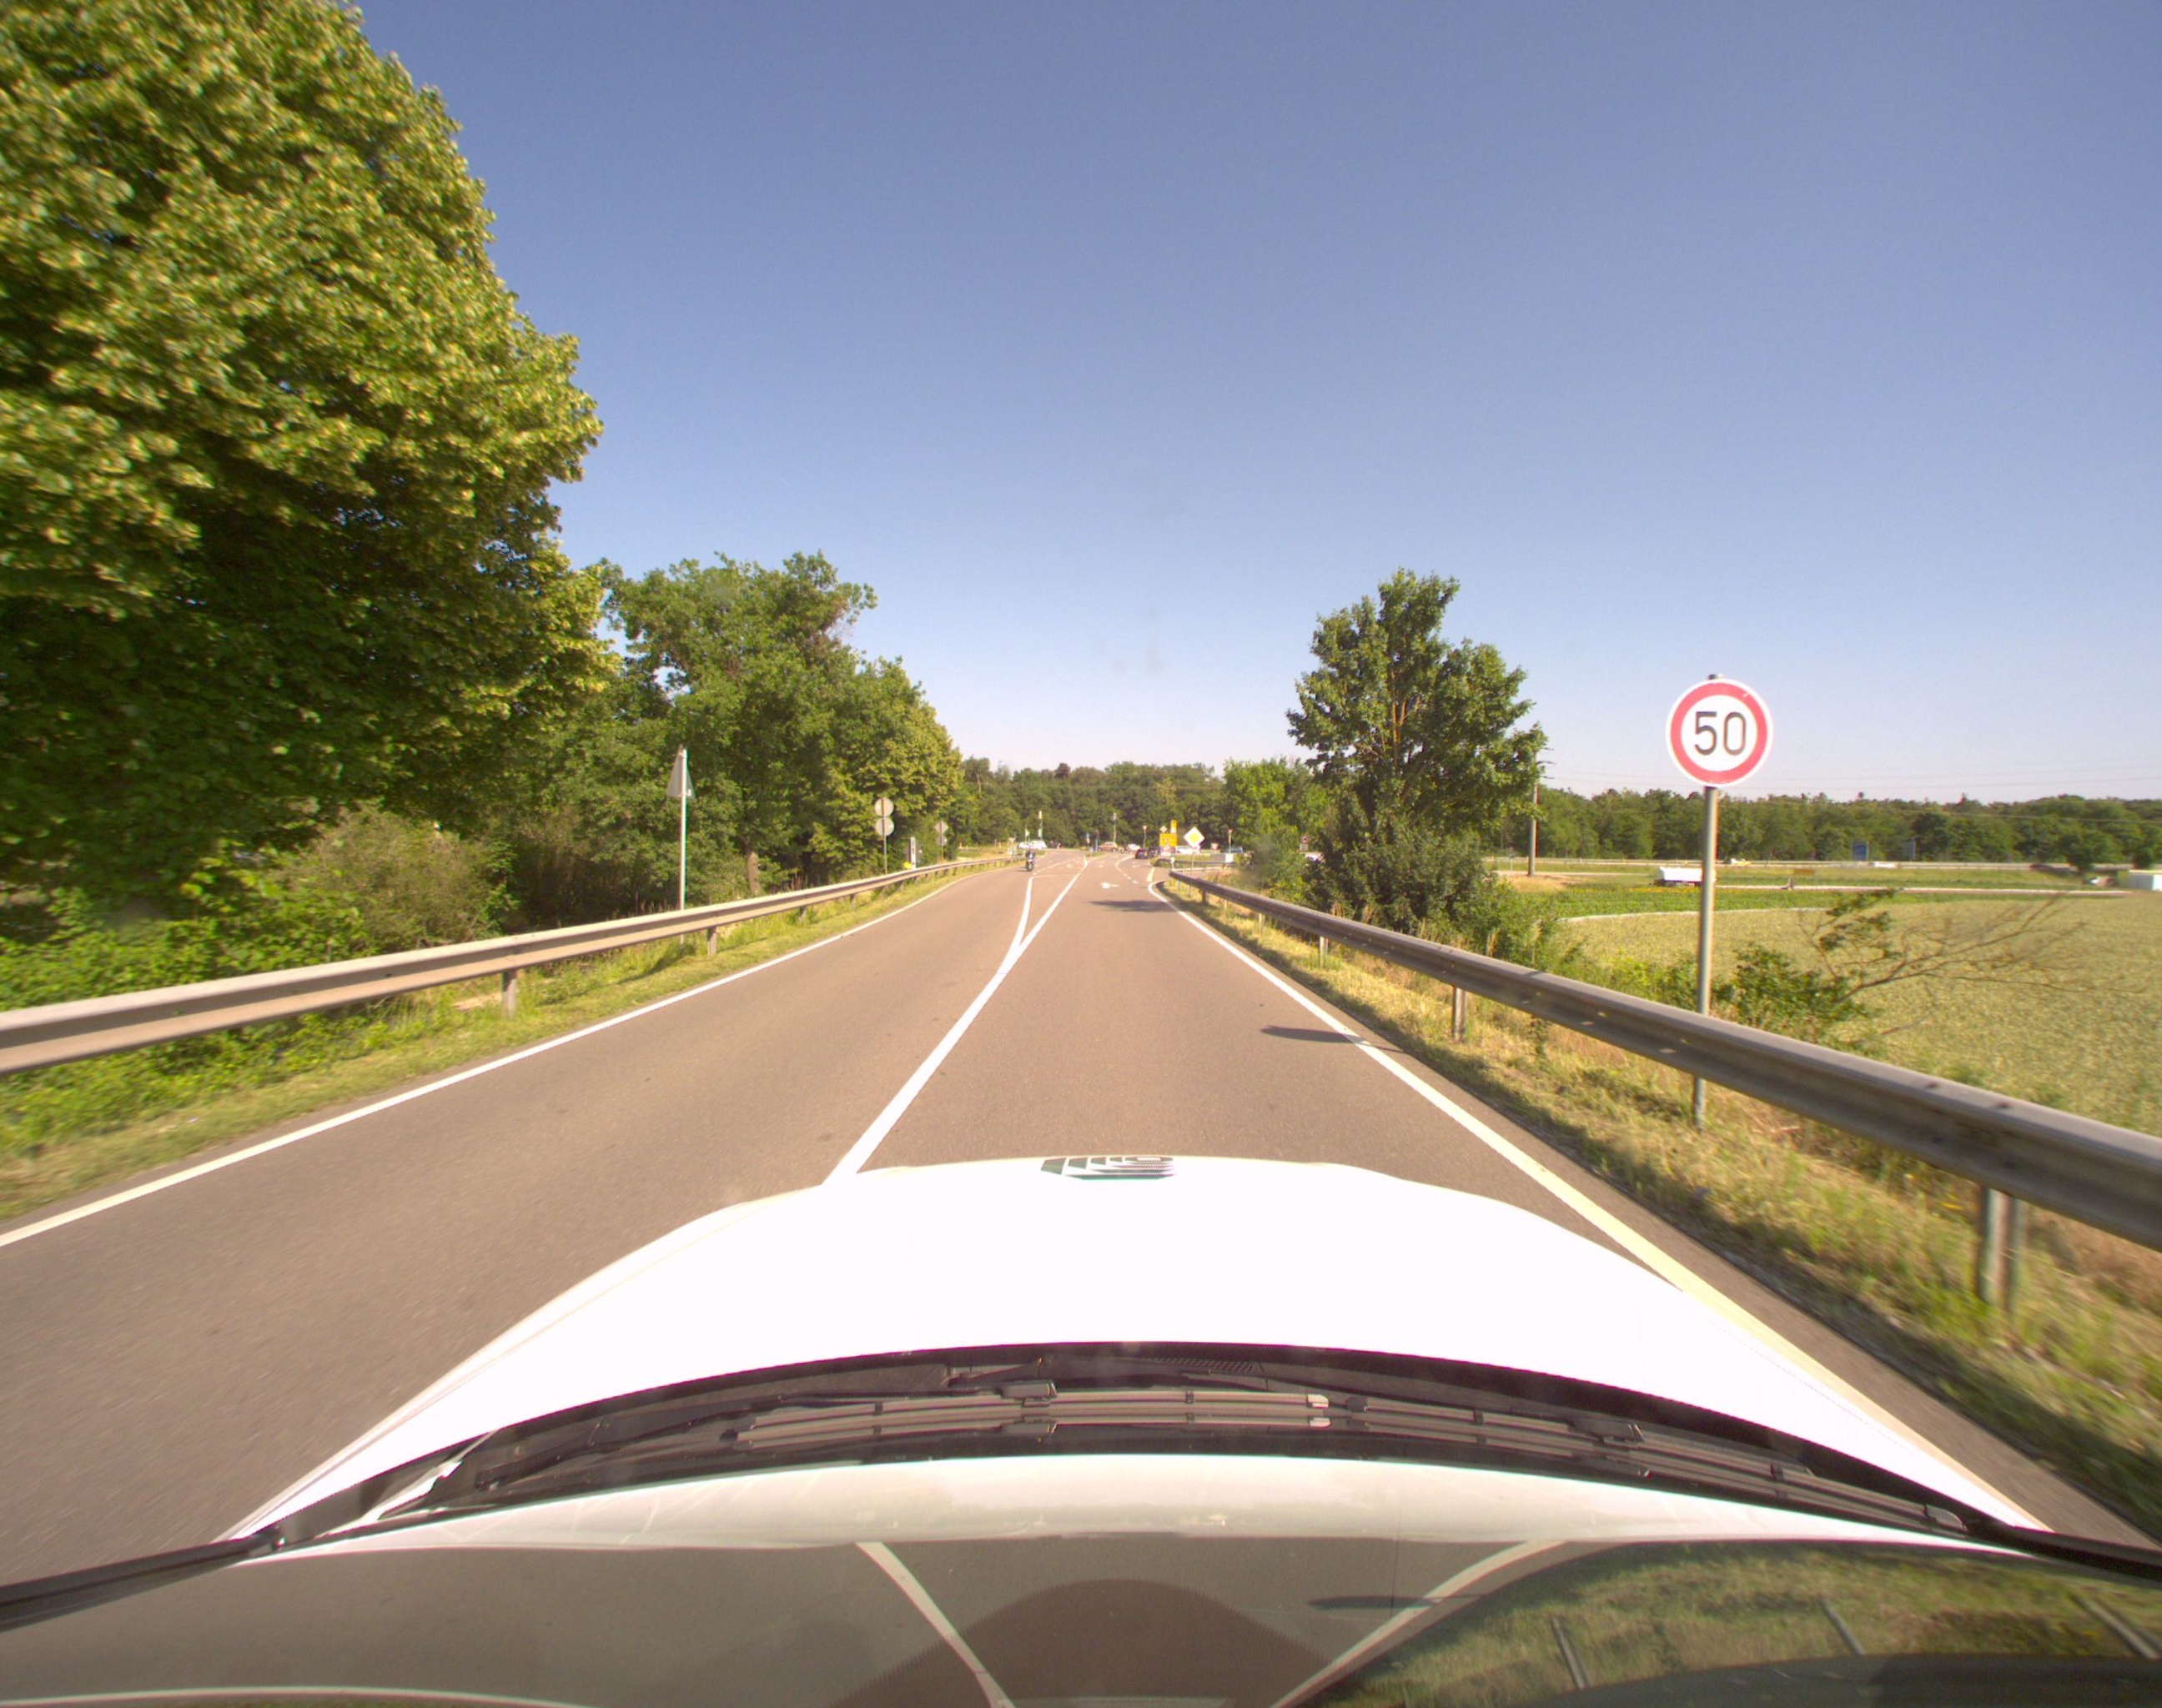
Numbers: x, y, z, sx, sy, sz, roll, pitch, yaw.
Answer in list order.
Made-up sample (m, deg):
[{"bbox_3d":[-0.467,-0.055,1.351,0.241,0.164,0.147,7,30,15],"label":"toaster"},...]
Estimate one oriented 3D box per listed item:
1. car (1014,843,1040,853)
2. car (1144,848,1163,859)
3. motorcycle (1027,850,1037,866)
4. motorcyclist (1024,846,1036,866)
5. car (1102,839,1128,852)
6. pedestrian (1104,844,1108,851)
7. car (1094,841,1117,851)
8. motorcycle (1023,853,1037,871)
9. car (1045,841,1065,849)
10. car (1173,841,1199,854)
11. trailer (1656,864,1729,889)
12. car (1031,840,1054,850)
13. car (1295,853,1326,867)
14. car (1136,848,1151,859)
[{"bbox_3d":[-8.758,-1.010,132.550,4.221,1.459,1.997,-1,0,-5],"label":"car"},{"bbox_3d":[10.680,-0.086,119.830,1.785,1.501,4.019,2,1,19],"label":"car"},{"bbox_3d":[-4.142,0.306,69.188,0.714,1.308,2.181,-1,0,1],"label":"motorcycle"},{"bbox_3d":[-3.588,0.125,57.374,0.696,1.408,0.785,-1,0,2],"label":"motorcyclist"},{"bbox_3d":[5.647,-1.448,134.885,3.982,2.013,1.797,0,1,-6],"label":"car"},{"bbox_3d":[4.669,-1.241,150.645,0.518,1.390,0.517,-1,0,36],"label":"pedestrian"},{"bbox_3d":[4.338,-1.396,144.876,3.984,1.750,1.759,-1,0,-8],"label":"car"},{"bbox_3d":[-3.580,0.552,57.429,0.714,1.250,2.079,-1,0,2],"label":"motorcycle"},{"bbox_3d":[-5.238,-1.840,165.356,3.980,1.422,1.793,-1,0,-5],"label":"car"},{"bbox_3d":[17.455,-1.111,135.384,3.977,2.013,1.799,1,1,-3],"label":"car"},{"bbox_3d":[76.209,2.805,101.637,6.731,2.670,2.907,2,1,17],"label":"trailer"},{"bbox_3d":[-7.490,-1.735,158.339,4.000,2.013,1.784,-1,0,-20],"label":"car"},{"bbox_3d":[34.677,0.854,122.945,3.950,1.876,1.903,4,1,41],"label":"car"},{"bbox_3d":[8.624,-0.112,112.565,1.789,1.398,4.009,-3,0,8],"label":"car"}]
